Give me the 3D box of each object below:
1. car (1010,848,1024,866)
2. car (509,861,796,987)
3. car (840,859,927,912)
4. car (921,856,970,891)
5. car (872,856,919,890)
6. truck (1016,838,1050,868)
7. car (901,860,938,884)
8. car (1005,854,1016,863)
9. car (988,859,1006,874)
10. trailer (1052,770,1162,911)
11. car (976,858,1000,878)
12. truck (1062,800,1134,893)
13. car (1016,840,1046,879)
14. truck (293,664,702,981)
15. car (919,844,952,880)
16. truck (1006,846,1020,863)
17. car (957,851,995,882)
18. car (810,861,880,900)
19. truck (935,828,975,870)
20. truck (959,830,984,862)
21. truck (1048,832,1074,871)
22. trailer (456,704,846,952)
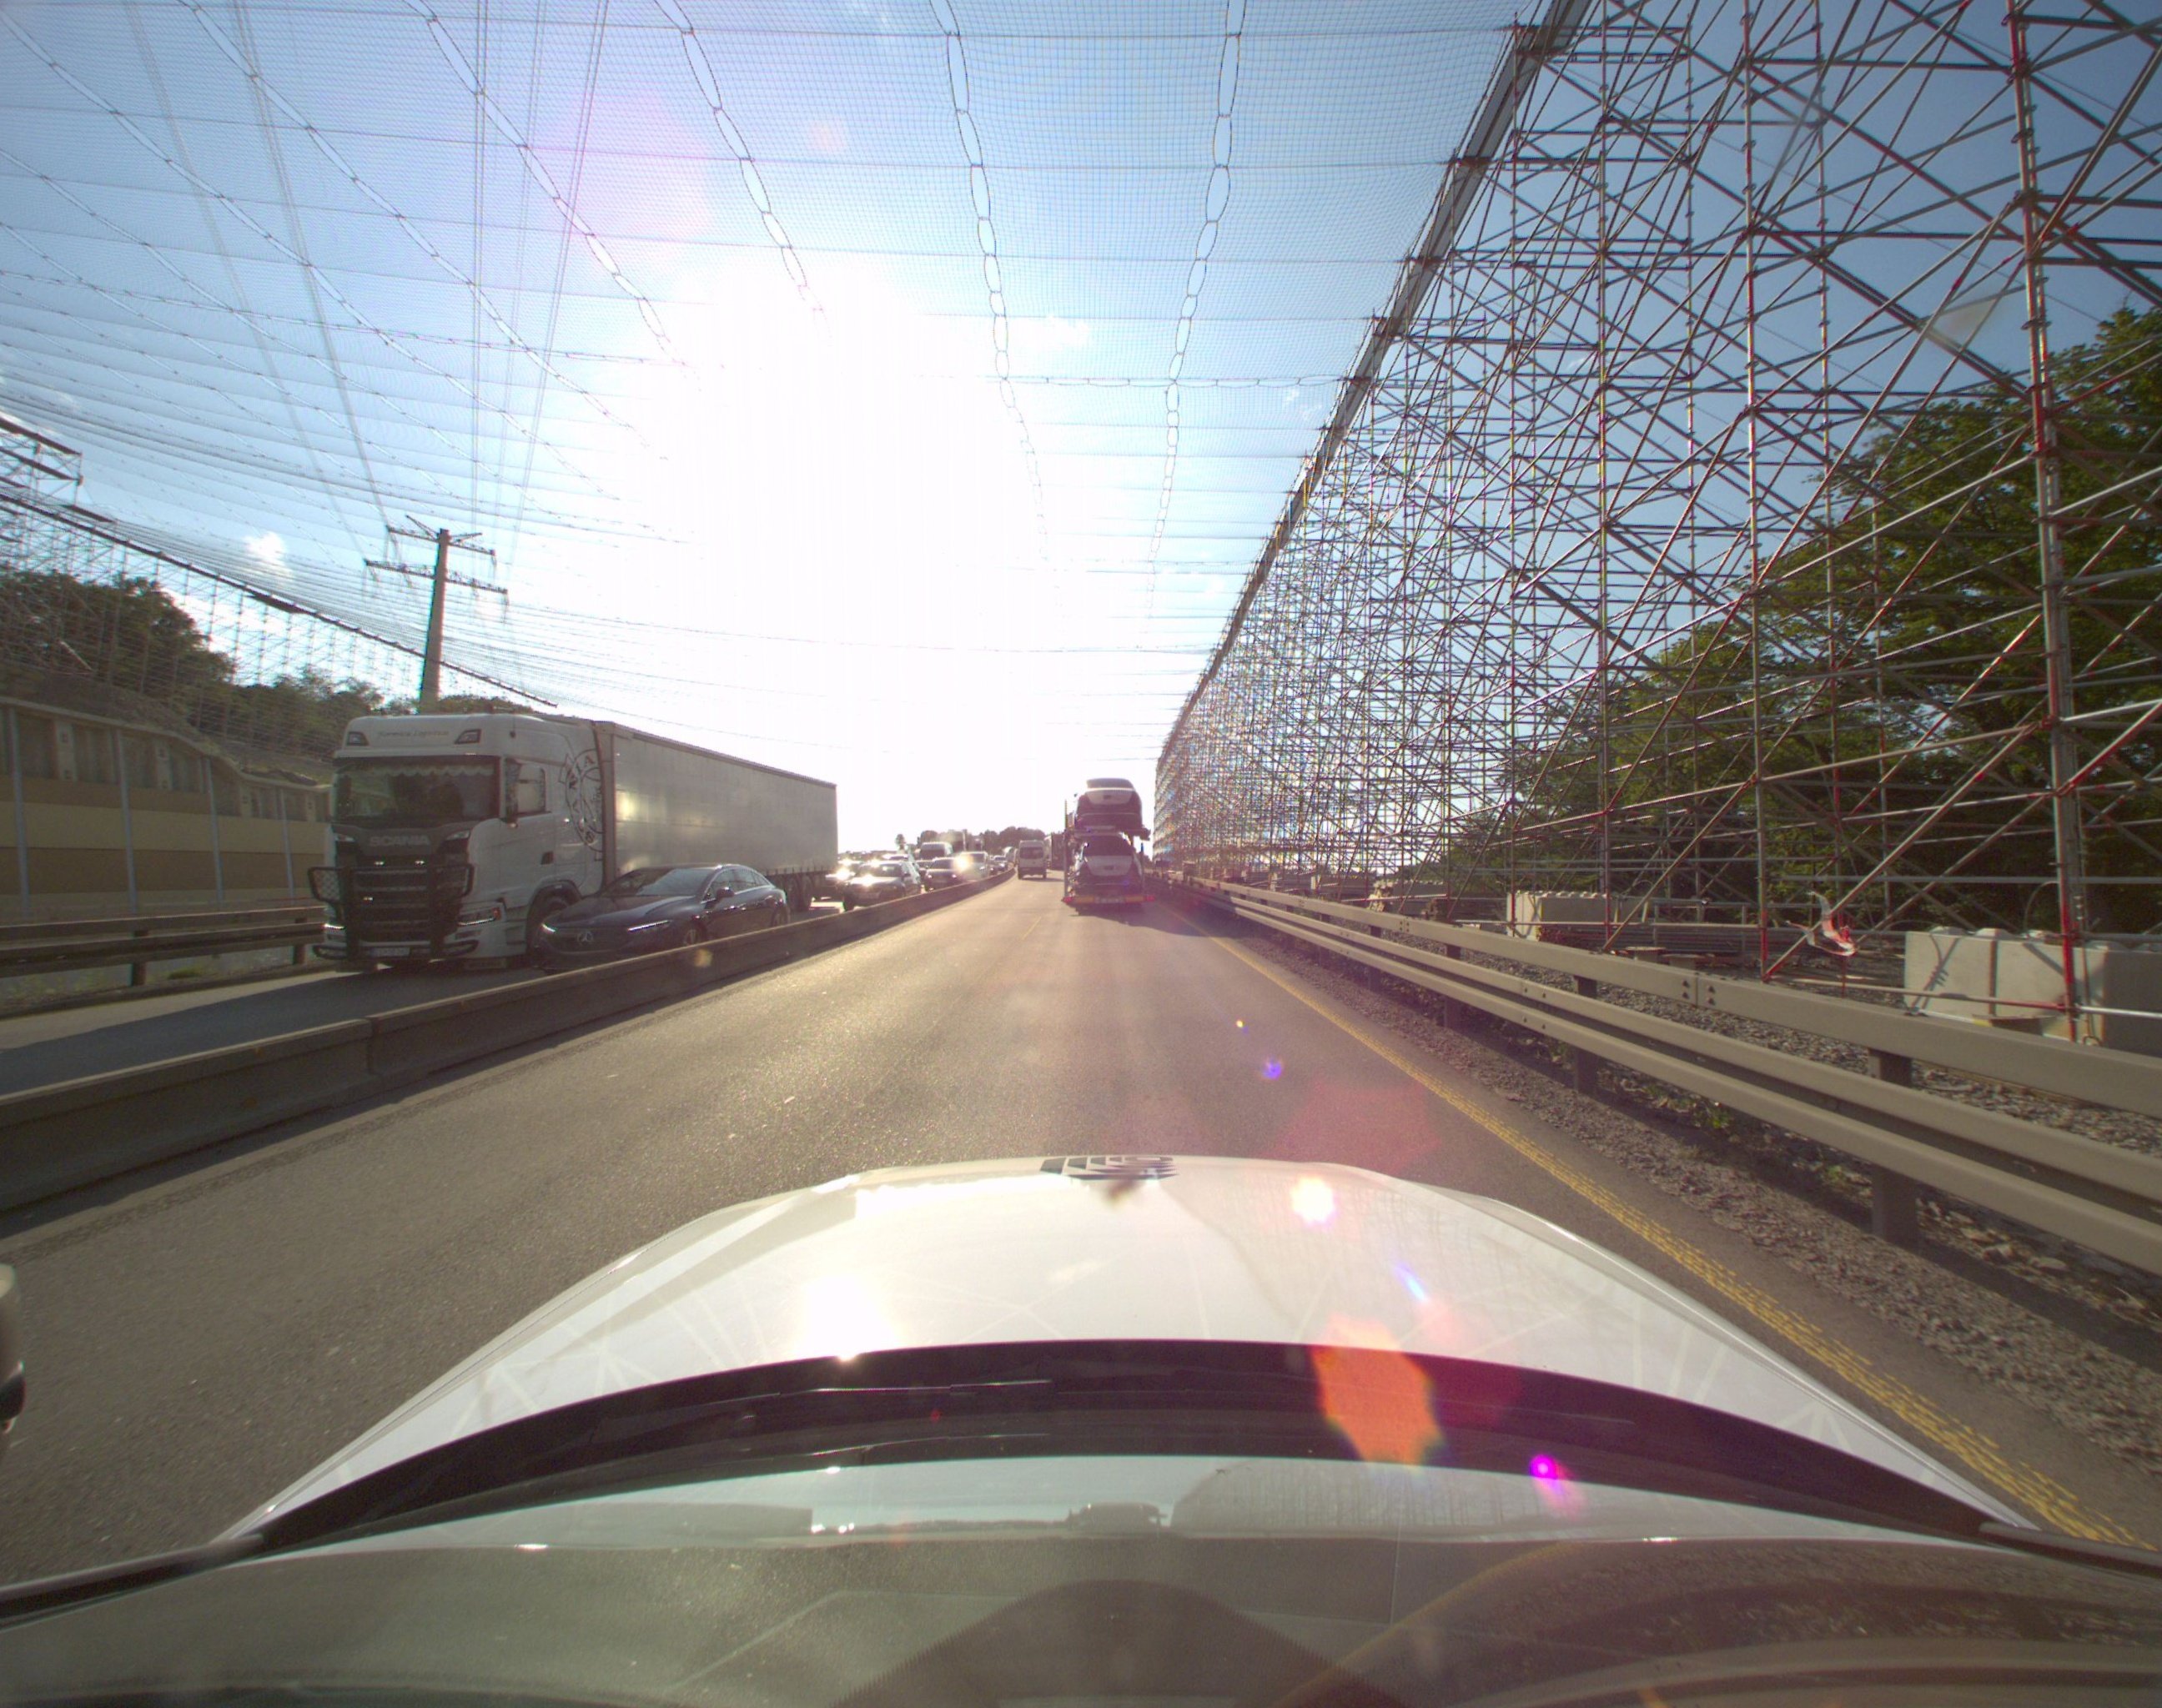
[{"bbox_3d":[-9.324,0.504,119.383,1.989,2.578,3.995,0,0,-4],"label":"car"},{"bbox_3d":[-6.080,0.877,12.345,1.778,1.502,4.754,0,0,1],"label":"car"},{"bbox_3d":[-6.163,0.923,25.887,1.736,1.543,4.403,0,0,-1],"label":"car"},{"bbox_3d":[-6.583,0.908,39.862,1.690,1.629,4.000,0,0,0],"label":"car"},{"bbox_3d":[-9.659,0.974,42.681,1.675,1.684,3.997,0,0,-2],"label":"car"},{"bbox_3d":[-7.888,-0.043,132.139,3.688,4.220,13.620,-4,0,-10],"label":"truck"},{"bbox_3d":[-9.856,1.076,49.809,1.579,1.332,3.996,-1,-1,-2],"label":"car"},{"bbox_3d":[-13.062,0.773,151.348,1.706,1.618,3.500,-1,-1,-2],"label":"car"},{"bbox_3d":[-8.401,1.260,81.227,1.700,1.453,3.989,0,0,-8],"label":"car"},{"bbox_3d":[0.716,-0.260,29.297,2.860,3.725,14.944,-1,-1,0],"label":"trailer"},{"bbox_3d":[-7.294,1.078,63.824,1.835,1.453,3.990,0,0,-7],"label":"car"},{"bbox_3d":[0.736,-0.261,36.810,2.872,3.702,7.324,-1,-1,0],"label":"truck"},{"bbox_3d":[-3.497,0.409,57.259,1.953,2.621,3.994,-2,-1,-4],"label":"car"},{"bbox_3d":[-9.302,-0.416,14.057,2.654,4.230,6.102,-1,-1,-1],"label":"truck"},{"bbox_3d":[-10.425,0.560,58.722,1.991,2.541,3.992,0,0,-5],"label":"car"},{"bbox_3d":[-15.521,0.119,185.522,2.616,3.723,9.627,0,0,-9],"label":"truck"},{"bbox_3d":[-6.573,0.776,51.160,1.830,1.893,4.000,0,0,0],"label":"car"},{"bbox_3d":[-9.400,1.009,32.678,1.660,1.441,3.851,0,0,0],"label":"car"},{"bbox_3d":[-11.110,-0.405,72.944,2.590,3.473,12.371,0,0,-5],"label":"truck"},{"bbox_3d":[-12.727,-0.831,94.959,2.592,3.473,12.363,0,0,-6],"label":"truck"},{"bbox_3d":[-2.537,-0.271,97.420,2.726,4.385,11.506,0,0,-3],"label":"truck"},{"bbox_3d":[-9.350,-0.419,20.870,2.645,4.233,13.915,0,0,0],"label":"trailer"}]
